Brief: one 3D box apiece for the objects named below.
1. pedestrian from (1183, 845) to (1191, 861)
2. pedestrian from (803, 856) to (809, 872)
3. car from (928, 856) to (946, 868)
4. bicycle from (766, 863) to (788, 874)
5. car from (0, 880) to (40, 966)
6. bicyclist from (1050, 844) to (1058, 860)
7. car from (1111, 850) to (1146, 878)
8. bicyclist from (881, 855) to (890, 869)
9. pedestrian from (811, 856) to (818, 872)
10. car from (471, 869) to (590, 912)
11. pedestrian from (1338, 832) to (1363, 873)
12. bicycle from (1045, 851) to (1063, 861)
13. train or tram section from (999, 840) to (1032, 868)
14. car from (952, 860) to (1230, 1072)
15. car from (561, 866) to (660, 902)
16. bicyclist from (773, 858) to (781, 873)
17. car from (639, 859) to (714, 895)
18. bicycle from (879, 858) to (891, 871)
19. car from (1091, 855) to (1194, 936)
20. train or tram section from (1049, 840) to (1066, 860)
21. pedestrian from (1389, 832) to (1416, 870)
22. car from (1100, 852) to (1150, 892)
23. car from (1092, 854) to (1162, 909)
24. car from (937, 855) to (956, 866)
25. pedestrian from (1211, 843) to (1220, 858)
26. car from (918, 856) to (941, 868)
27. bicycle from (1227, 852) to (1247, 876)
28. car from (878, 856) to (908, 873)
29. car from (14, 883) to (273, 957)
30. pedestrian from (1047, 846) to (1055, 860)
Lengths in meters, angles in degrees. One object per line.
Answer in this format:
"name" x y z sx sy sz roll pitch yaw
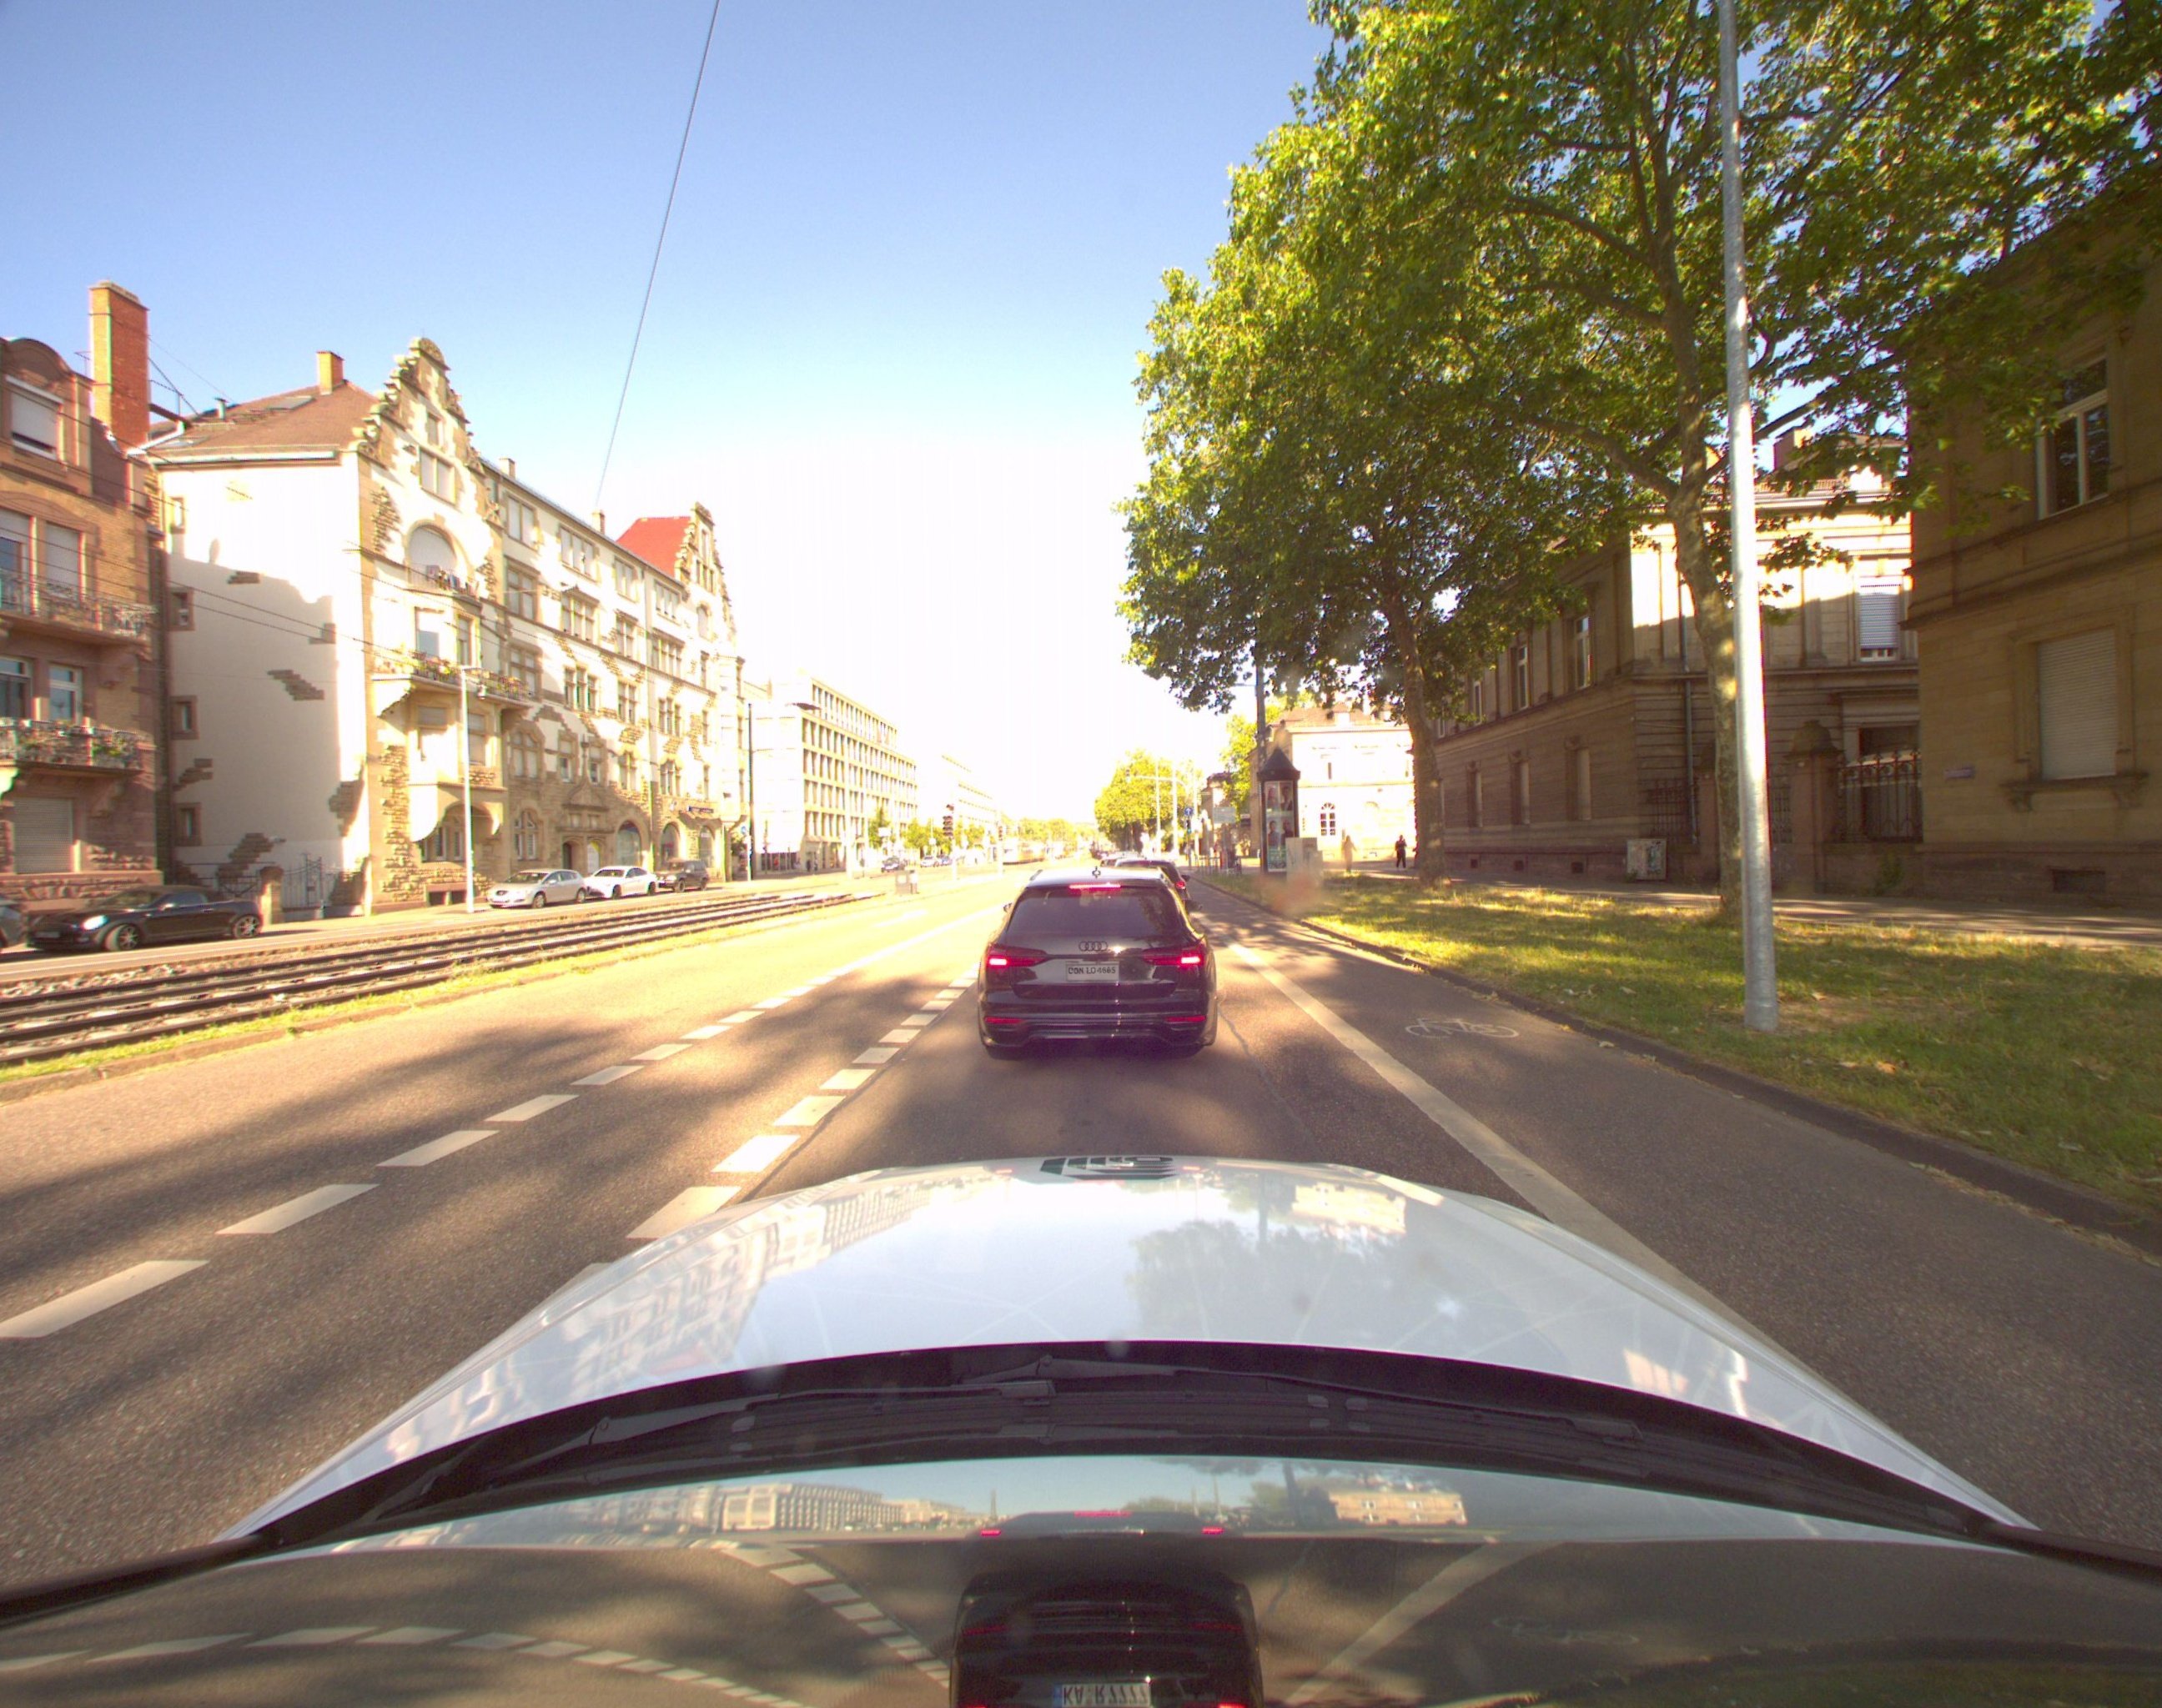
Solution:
"pedestrian" 10.833 -0.087 83.041 0.679 1.660 0.758 -2 0 0
"pedestrian" -31.705 1.161 93.839 0.475 1.843 0.438 -2 0 -36
"car" -22.096 1.199 125.297 1.835 1.812 4.114 -2 0 1
"bicycle" -35.374 1.689 94.761 2.377 1.215 0.576 -2 0 -5
"car" -21.792 1.342 14.022 1.849 1.622 4.504 1 0 1
"bicyclist" -3.198 -0.226 98.041 0.758 1.818 0.760 -2 0 -16
"car" 2.655 0.548 45.833 1.895 1.486 4.147 -1 0 3
"bicyclist" -21.733 0.854 90.422 0.682 1.563 0.786 -2 0 3
"pedestrian" -30.827 1.129 94.148 0.535 1.843 0.438 -2 0 -36
"car" -21.141 1.358 31.510 1.704 1.431 4.223 0 0 0
"pedestrian" 11.759 -0.063 35.540 0.766 1.709 1.043 -2 0 3
"bicycle" -3.261 0.280 98.020 2.010 1.108 0.760 -2 0 -16
"train or tram section" -8.700 -0.028 109.749 2.802 3.489 13.211 -2 0 2
"car" 0.164 0.784 7.654 1.895 1.422 4.147 -1 0 3
"car" -21.214 1.307 36.977 1.711 1.423 4.656 0 0 1
"bicyclist" -35.357 1.366 94.786 0.640 1.686 0.576 -2 0 -4
"car" -20.991 1.153 42.437 1.711 1.675 4.217 0 0 1
"bicycle" -21.725 1.162 90.356 0.682 1.381 1.949 -2 0 3
"car" 1.241 0.770 17.151 1.895 1.486 4.147 -1 0 3
"train or tram section" -4.258 -0.807 151.029 2.600 3.450 11.132 -2 0 1
"pedestrian" 13.902 -0.137 35.279 0.766 1.606 0.987 -2 0 3
"car" 1.768 0.692 33.088 1.895 1.486 4.147 -1 0 3
"car" 1.364 0.755 24.416 1.895 1.486 4.147 -1 0 3
"car" -18.406 0.905 111.479 1.813 1.457 4.158 -2 0 1
"pedestrian" 16.095 -0.424 97.523 0.975 1.865 0.827 -2 0 2
"car" -18.569 0.967 100.174 1.813 1.457 4.541 -2 0 1
"bicycle" 7.436 0.460 38.825 0.538 1.061 1.770 -2 0 -1
"car" -17.877 0.986 77.495 1.814 1.457 4.164 -2 0 -1
"car" -21.488 1.453 18.916 1.616 1.354 3.727 1 0 1
"pedestrian" -3.652 -0.098 99.739 0.741 1.741 0.660 -2 0 -15
